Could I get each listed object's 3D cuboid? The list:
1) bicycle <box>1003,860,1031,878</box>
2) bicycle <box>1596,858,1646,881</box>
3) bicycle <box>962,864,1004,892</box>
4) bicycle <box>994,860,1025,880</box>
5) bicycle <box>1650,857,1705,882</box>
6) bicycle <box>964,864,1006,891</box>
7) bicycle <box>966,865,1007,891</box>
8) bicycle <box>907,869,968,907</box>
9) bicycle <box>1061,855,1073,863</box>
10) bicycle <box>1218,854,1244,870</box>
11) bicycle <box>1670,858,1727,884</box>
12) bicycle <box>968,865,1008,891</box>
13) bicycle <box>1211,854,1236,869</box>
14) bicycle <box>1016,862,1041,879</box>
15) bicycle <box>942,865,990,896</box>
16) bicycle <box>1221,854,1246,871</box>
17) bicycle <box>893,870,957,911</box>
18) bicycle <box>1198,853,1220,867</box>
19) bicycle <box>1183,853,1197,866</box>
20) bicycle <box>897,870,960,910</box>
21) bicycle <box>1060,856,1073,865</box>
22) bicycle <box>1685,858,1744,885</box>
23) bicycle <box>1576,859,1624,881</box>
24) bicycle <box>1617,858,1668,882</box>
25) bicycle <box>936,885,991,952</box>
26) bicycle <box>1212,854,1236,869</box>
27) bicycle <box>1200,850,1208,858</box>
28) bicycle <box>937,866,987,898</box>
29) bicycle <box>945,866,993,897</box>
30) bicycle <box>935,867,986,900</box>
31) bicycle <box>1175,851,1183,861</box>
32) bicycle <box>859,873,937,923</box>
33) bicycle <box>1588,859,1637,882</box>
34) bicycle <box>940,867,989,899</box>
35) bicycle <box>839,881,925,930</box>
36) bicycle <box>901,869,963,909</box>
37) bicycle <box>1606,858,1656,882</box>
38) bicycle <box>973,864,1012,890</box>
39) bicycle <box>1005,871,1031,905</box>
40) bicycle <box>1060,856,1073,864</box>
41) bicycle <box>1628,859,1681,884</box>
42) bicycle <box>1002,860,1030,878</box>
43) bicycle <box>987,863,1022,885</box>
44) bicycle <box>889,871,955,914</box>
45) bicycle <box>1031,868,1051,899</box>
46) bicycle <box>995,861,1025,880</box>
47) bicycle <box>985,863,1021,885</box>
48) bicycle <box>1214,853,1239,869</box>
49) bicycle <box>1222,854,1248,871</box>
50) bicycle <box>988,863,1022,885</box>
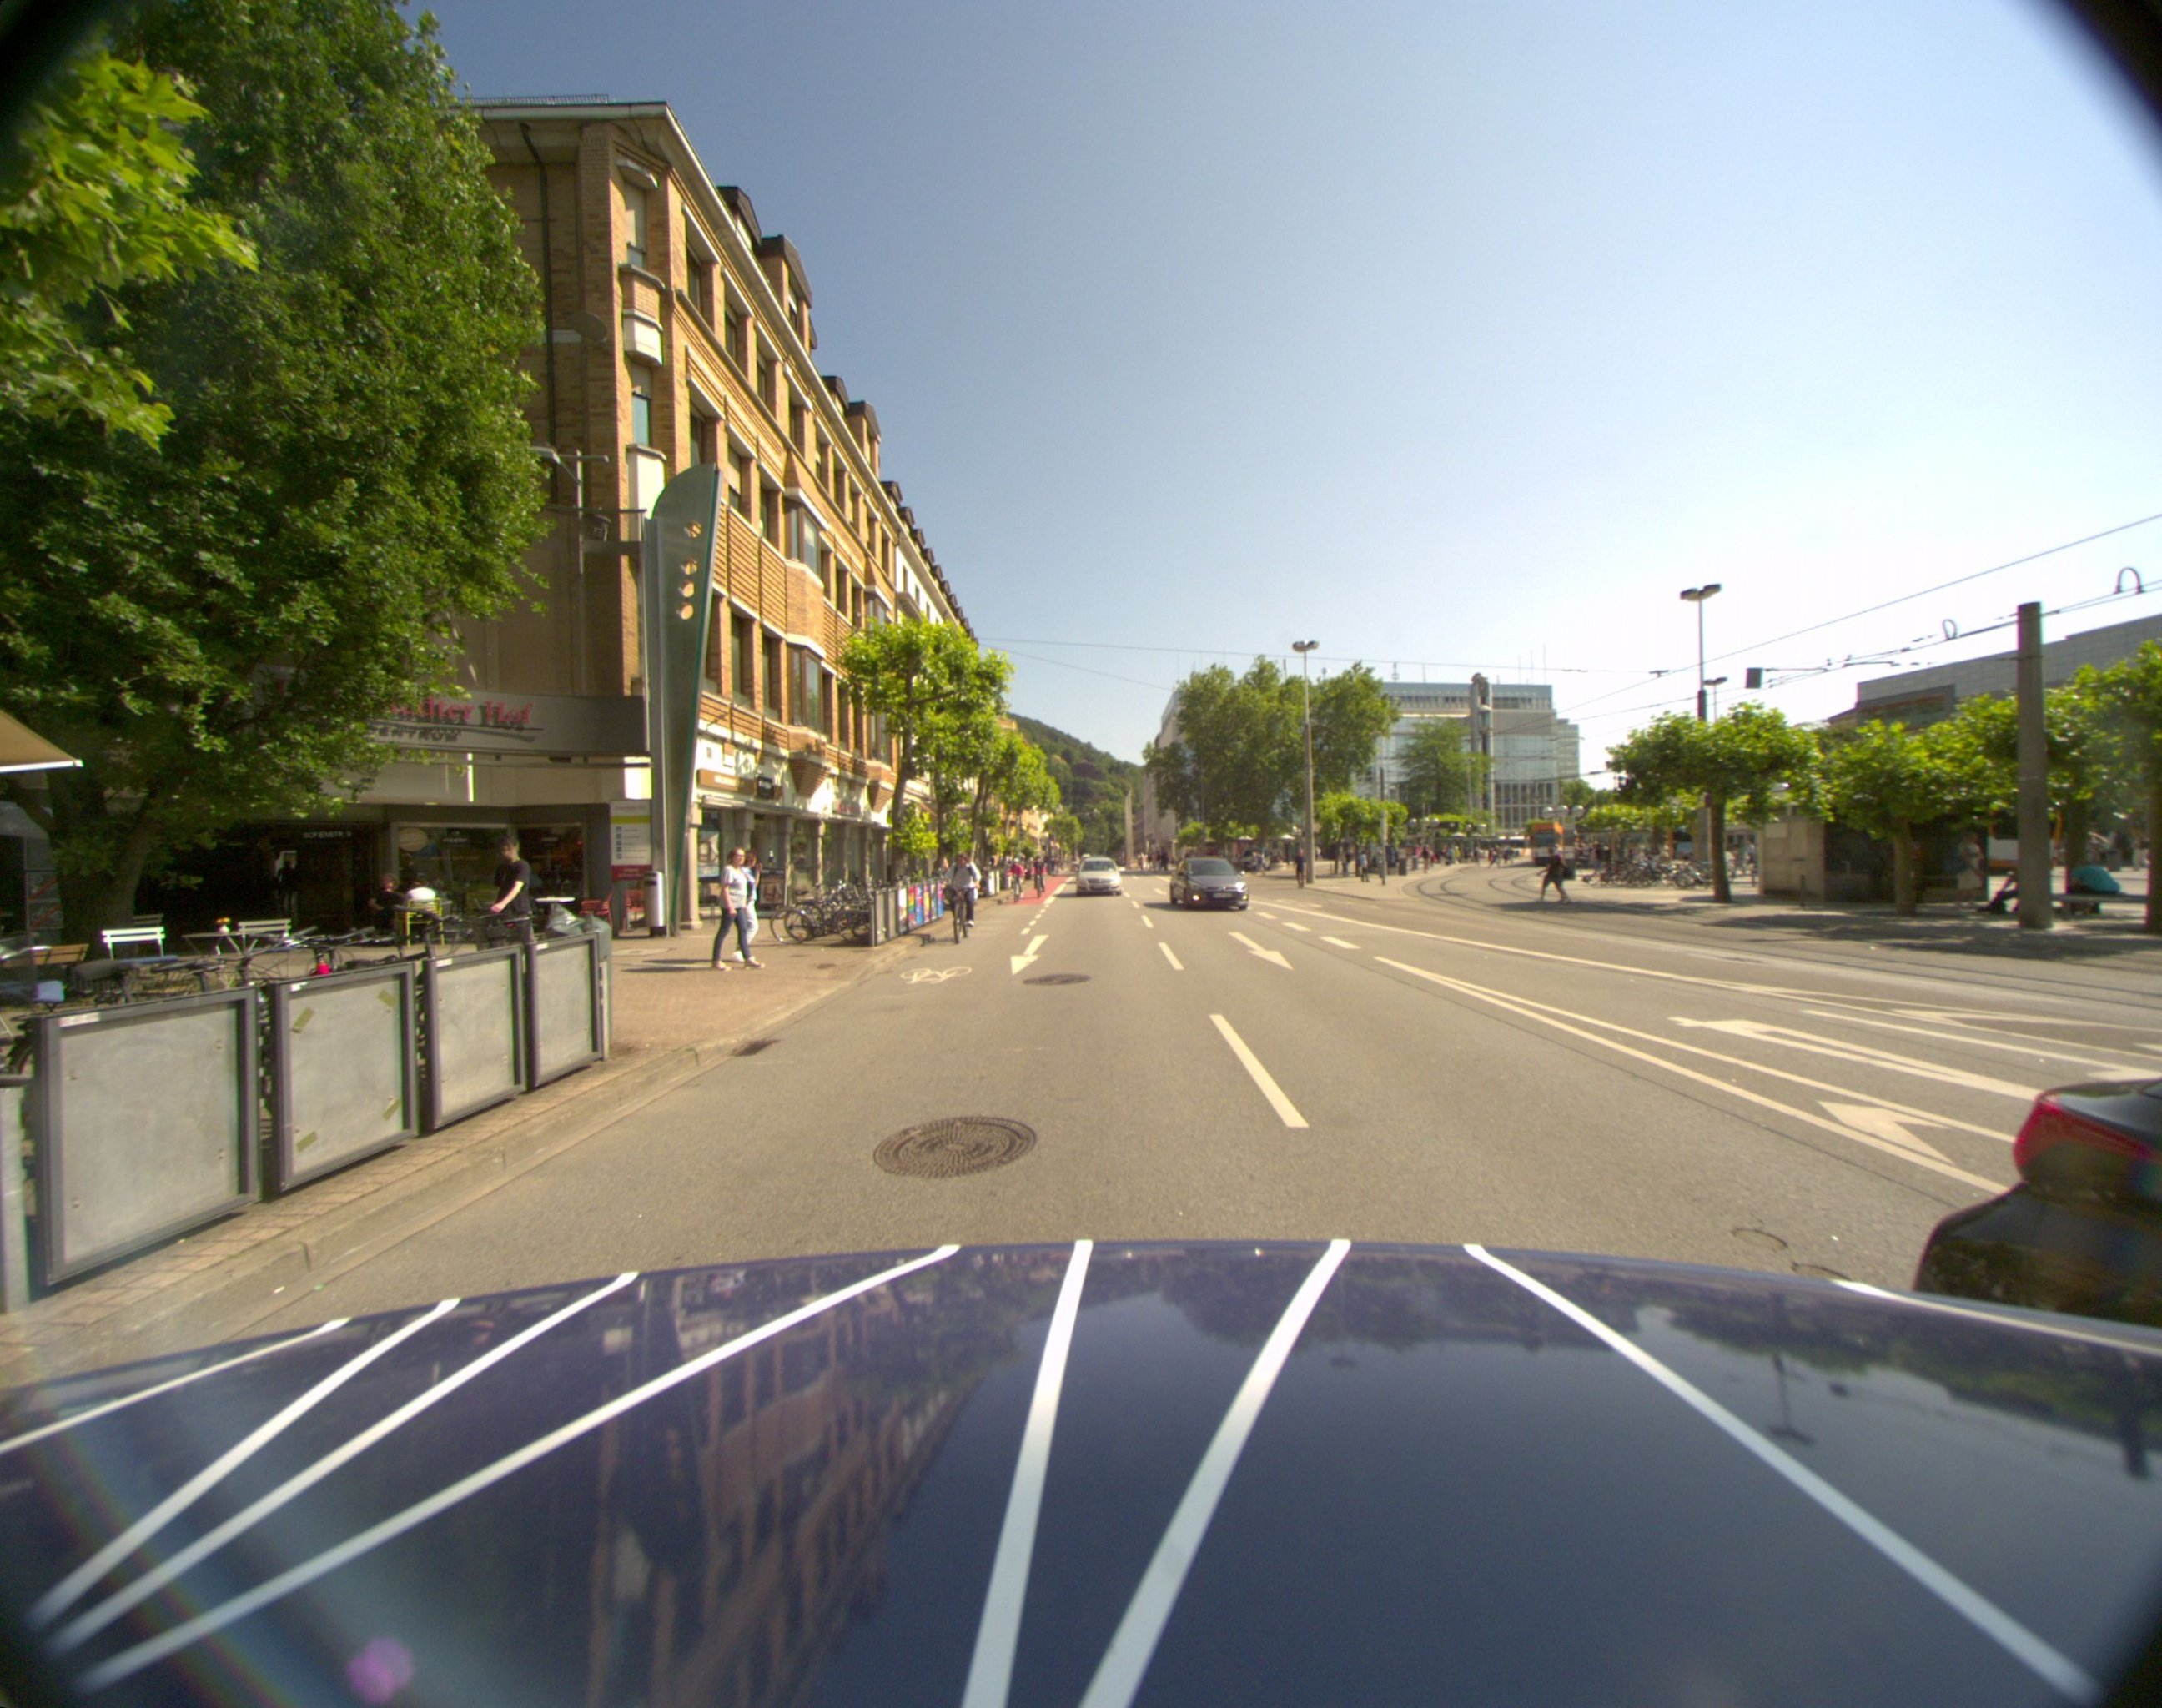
[{"bbox_3d":[-4.195,0.995,49.827,1.757,1.140,0.592,-1,1,-1],"label":"bicycle"},{"bbox_3d":[22.757,0.645,32.018,1.871,0.851,0.546,-3,1,-12],"label":"bicycle"},{"bbox_3d":[-4.278,1.048,33.146,1.757,1.180,0.483,-1,1,-1],"label":"bicycle"},{"bbox_3d":[-4.324,0.982,45.994,1.778,1.140,0.483,-1,1,-1],"label":"bicycle"},{"bbox_3d":[23.065,0.592,29.388,1.871,0.864,0.581,-3,1,-12],"label":"bicycle"},{"bbox_3d":[-4.258,1.057,33.738,1.757,1.140,0.483,-1,1,-1],"label":"bicycle"},{"bbox_3d":[-4.266,1.076,34.279,1.757,1.140,0.483,-1,1,-1],"label":"bicycle"},{"bbox_3d":[-4.467,1.056,23.687,1.757,1.140,0.483,-1,1,-1],"label":"bicycle"},{"bbox_3d":[-2.037,0.744,112.826,1.757,1.140,0.592,-1,1,-1],"label":"bicycle"},{"bbox_3d":[11.150,0.612,56.505,1.865,1.140,0.483,-1,1,-1],"label":"bicycle"},{"bbox_3d":[22.824,0.612,28.087,1.871,0.864,0.581,-3,1,-12],"label":"bicycle"},{"bbox_3d":[-4.244,1.082,34.829,1.757,1.140,0.527,-1,1,-1],"label":"bicycle"},{"bbox_3d":[11.048,0.603,58.941,1.757,1.140,0.483,-1,1,-1],"label":"bicycle"},{"bbox_3d":[-3.849,1.193,55.628,1.757,1.140,0.592,-1,1,-1],"label":"bicycle"},{"bbox_3d":[-4.402,1.006,29.113,1.757,1.140,0.483,-1,1,-1],"label":"bicycle"},{"bbox_3d":[11.167,0.618,55.651,1.757,1.140,0.483,-1,1,-1],"label":"bicycle"},{"bbox_3d":[-4.530,1.061,22.117,1.757,1.140,0.483,-1,1,-1],"label":"bicycle"},{"bbox_3d":[10.891,0.473,64.660,1.757,1.140,0.483,-1,1,-1],"label":"bicycle"},{"bbox_3d":[9.750,0.486,68.198,0.831,1.017,2.626,-3,0,1],"label":"bicycle"},{"bbox_3d":[-4.527,1.069,22.610,1.757,1.140,0.483,-1,1,-1],"label":"bicycle"},{"bbox_3d":[-2.087,0.931,110.035,1.757,1.140,0.592,-1,1,-1],"label":"bicycle"},{"bbox_3d":[22.953,0.609,27.546,1.871,0.864,0.581,-3,1,-12],"label":"bicycle"},{"bbox_3d":[22.657,0.684,33.182,1.871,0.851,0.546,-3,1,-12],"label":"bicycle"},{"bbox_3d":[22.827,0.639,30.903,1.871,0.851,0.546,-3,1,-12],"label":"bicycle"},{"bbox_3d":[-2.256,1.216,14.821,0.736,1.086,1.897,-3,1,0],"label":"bicycle"},{"bbox_3d":[11.173,0.593,59.562,1.757,1.140,0.483,-1,1,-1],"label":"bicycle"},{"bbox_3d":[16.448,-0.004,101.945,0.592,1.140,1.757,-2,1,-7],"label":"bicycle"},{"bbox_3d":[-4.388,1.025,28.096,1.757,1.140,0.483,-1,1,-1],"label":"bicycle"},{"bbox_3d":[-4.383,1.079,29.730,1.757,1.140,0.499,-1,1,-1],"label":"bicycle"},{"bbox_3d":[-4.360,1.068,27.591,1.757,1.140,0.483,-1,1,-1],"label":"bicycle"},{"bbox_3d":[12.315,0.262,95.107,0.729,1.137,1.914,-3,1,14],"label":"bicycle"},{"bbox_3d":[-4.439,1.057,18.512,1.757,1.140,0.483,-1,1,-1],"label":"bicycle"},{"bbox_3d":[22.756,0.690,32.525,1.871,0.867,0.583,-3,1,-12],"label":"bicycle"},{"bbox_3d":[-4.382,1.076,28.597,1.757,1.140,0.483,-1,1,-1],"label":"bicycle"},{"bbox_3d":[-4.422,1.137,16.955,1.757,1.012,0.483,-1,1,-1],"label":"bicycle"},{"bbox_3d":[-4.531,1.055,23.121,1.757,1.140,0.483,-1,1,-1],"label":"bicycle"},{"bbox_3d":[22.816,0.658,31.510,1.871,0.851,0.546,-3,1,-12],"label":"bicycle"},{"bbox_3d":[-4.131,1.086,35.509,1.757,1.140,0.483,-1,1,-1],"label":"bicycle"},{"bbox_3d":[-2.213,1.170,26.838,0.736,1.086,1.819,-3,0,0],"label":"bicycle"},{"bbox_3d":[-2.049,0.853,109.021,1.757,1.140,0.592,-1,1,-1],"label":"bicycle"},{"bbox_3d":[22.903,0.695,30.341,1.871,0.851,0.546,-3,1,-12],"label":"bicycle"},{"bbox_3d":[-4.149,0.962,48.587,1.757,1.140,0.483,-1,1,-1],"label":"bicycle"},{"bbox_3d":[-4.050,1.060,40.201,1.757,1.062,0.483,-1,1,-1],"label":"bicycle"},{"bbox_3d":[-4.513,1.087,21.622,1.757,1.140,0.483,-1,1,-1],"label":"bicycle"},{"bbox_3d":[-1.538,1.137,29.391,0.667,1.086,1.897,-3,1,-2],"label":"bicycle"},{"bbox_3d":[-4.361,1.009,46.731,1.757,1.140,0.483,-1,1,-1],"label":"bicycle"},{"bbox_3d":[-4.068,1.047,39.690,1.757,1.081,0.483,-1,1,-1],"label":"bicycle"},{"bbox_3d":[11.050,0.553,57.608,1.757,1.140,0.483,-1,1,-1],"label":"bicycle"},{"bbox_3d":[11.180,0.620,55.179,1.757,1.140,0.483,-1,1,-1],"label":"bicycle"},{"bbox_3d":[-4.079,1.081,40.766,1.757,1.140,0.483,-1,1,-1],"label":"bicycle"}]
